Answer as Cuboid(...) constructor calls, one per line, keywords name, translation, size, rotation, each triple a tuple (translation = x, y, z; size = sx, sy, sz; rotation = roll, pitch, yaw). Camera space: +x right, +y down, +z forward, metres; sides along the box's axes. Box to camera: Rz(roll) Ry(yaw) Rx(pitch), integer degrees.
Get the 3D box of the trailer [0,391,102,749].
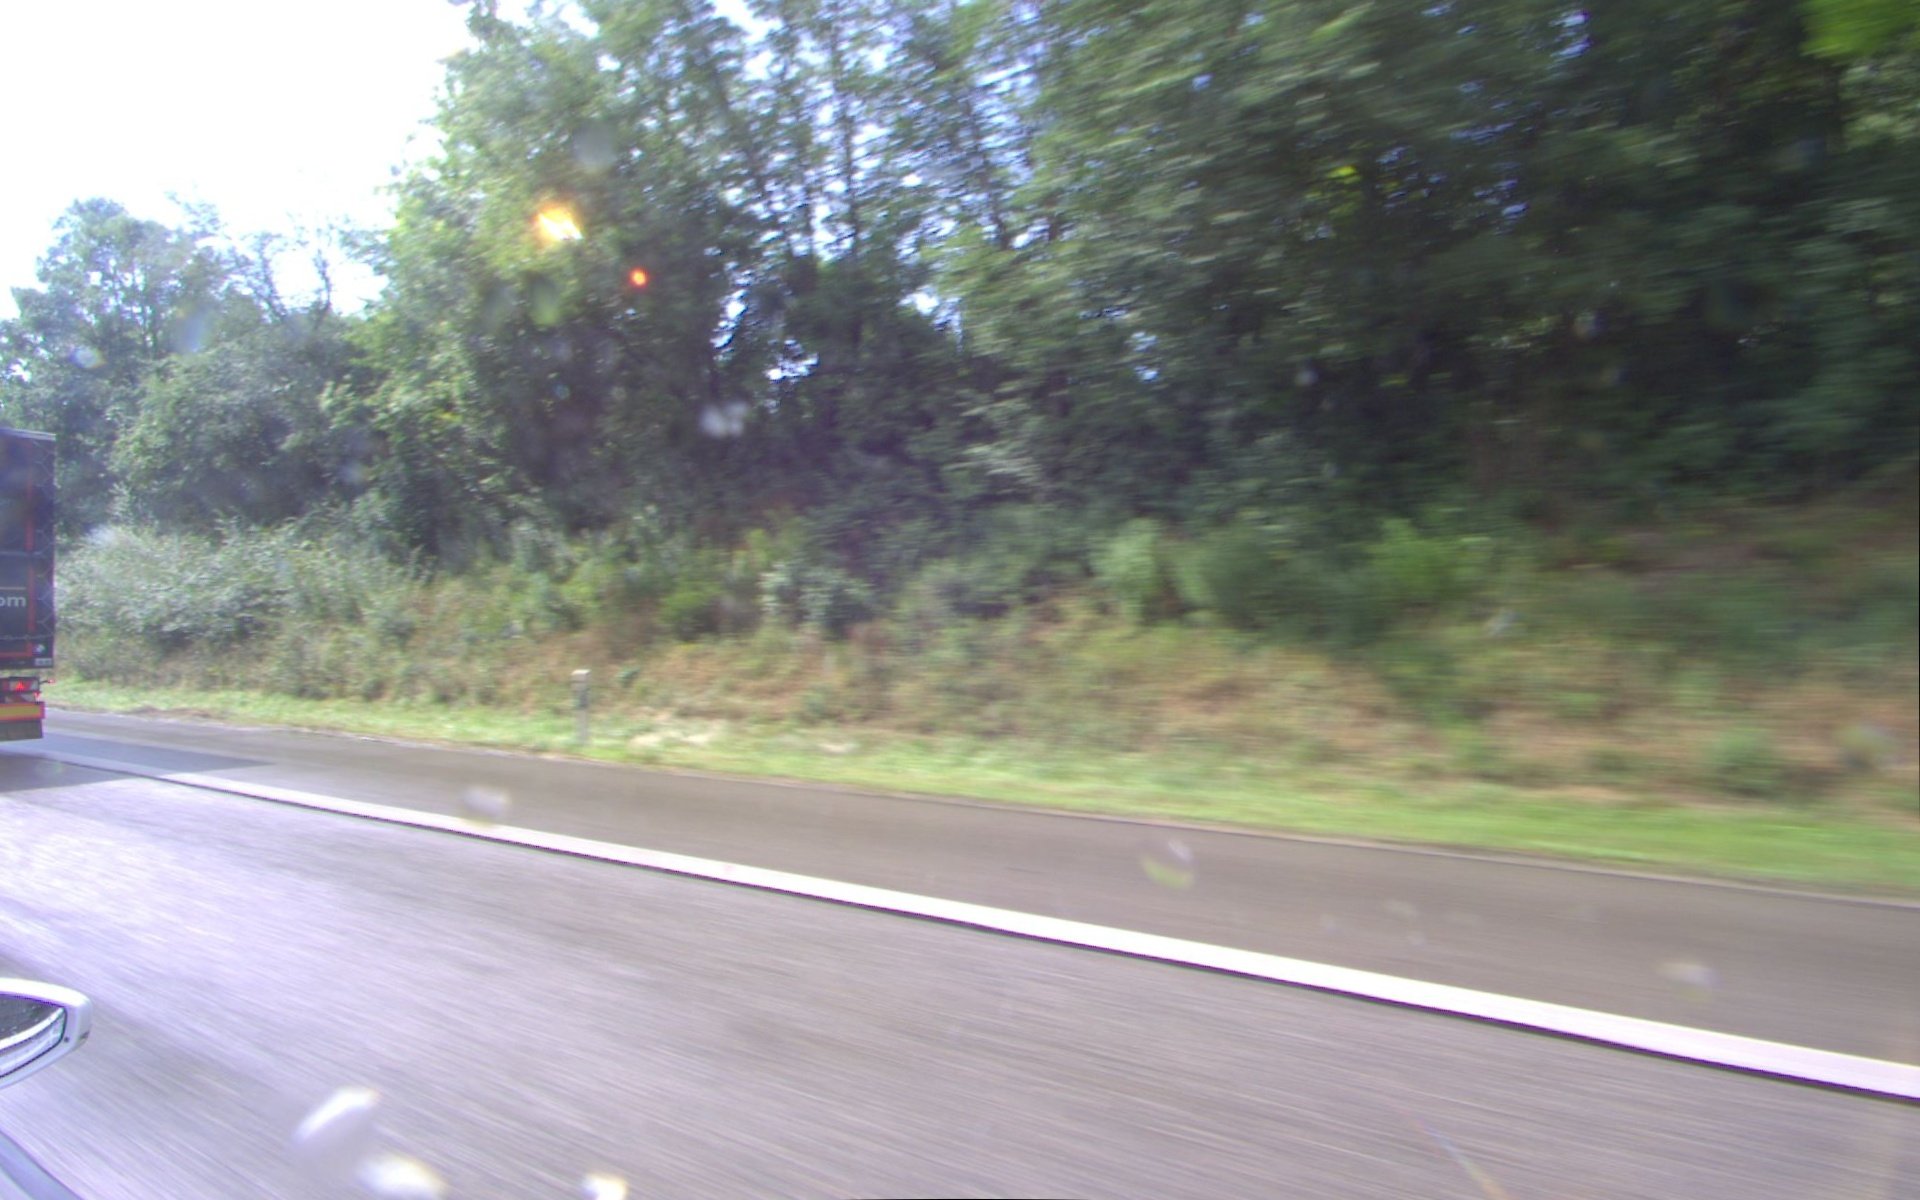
Cuboid(name="trailer", translation=(-17.862, -0.262, 15.521), size=(13.905, 4.368, 3.082), rotation=(-1, -1, 33))
